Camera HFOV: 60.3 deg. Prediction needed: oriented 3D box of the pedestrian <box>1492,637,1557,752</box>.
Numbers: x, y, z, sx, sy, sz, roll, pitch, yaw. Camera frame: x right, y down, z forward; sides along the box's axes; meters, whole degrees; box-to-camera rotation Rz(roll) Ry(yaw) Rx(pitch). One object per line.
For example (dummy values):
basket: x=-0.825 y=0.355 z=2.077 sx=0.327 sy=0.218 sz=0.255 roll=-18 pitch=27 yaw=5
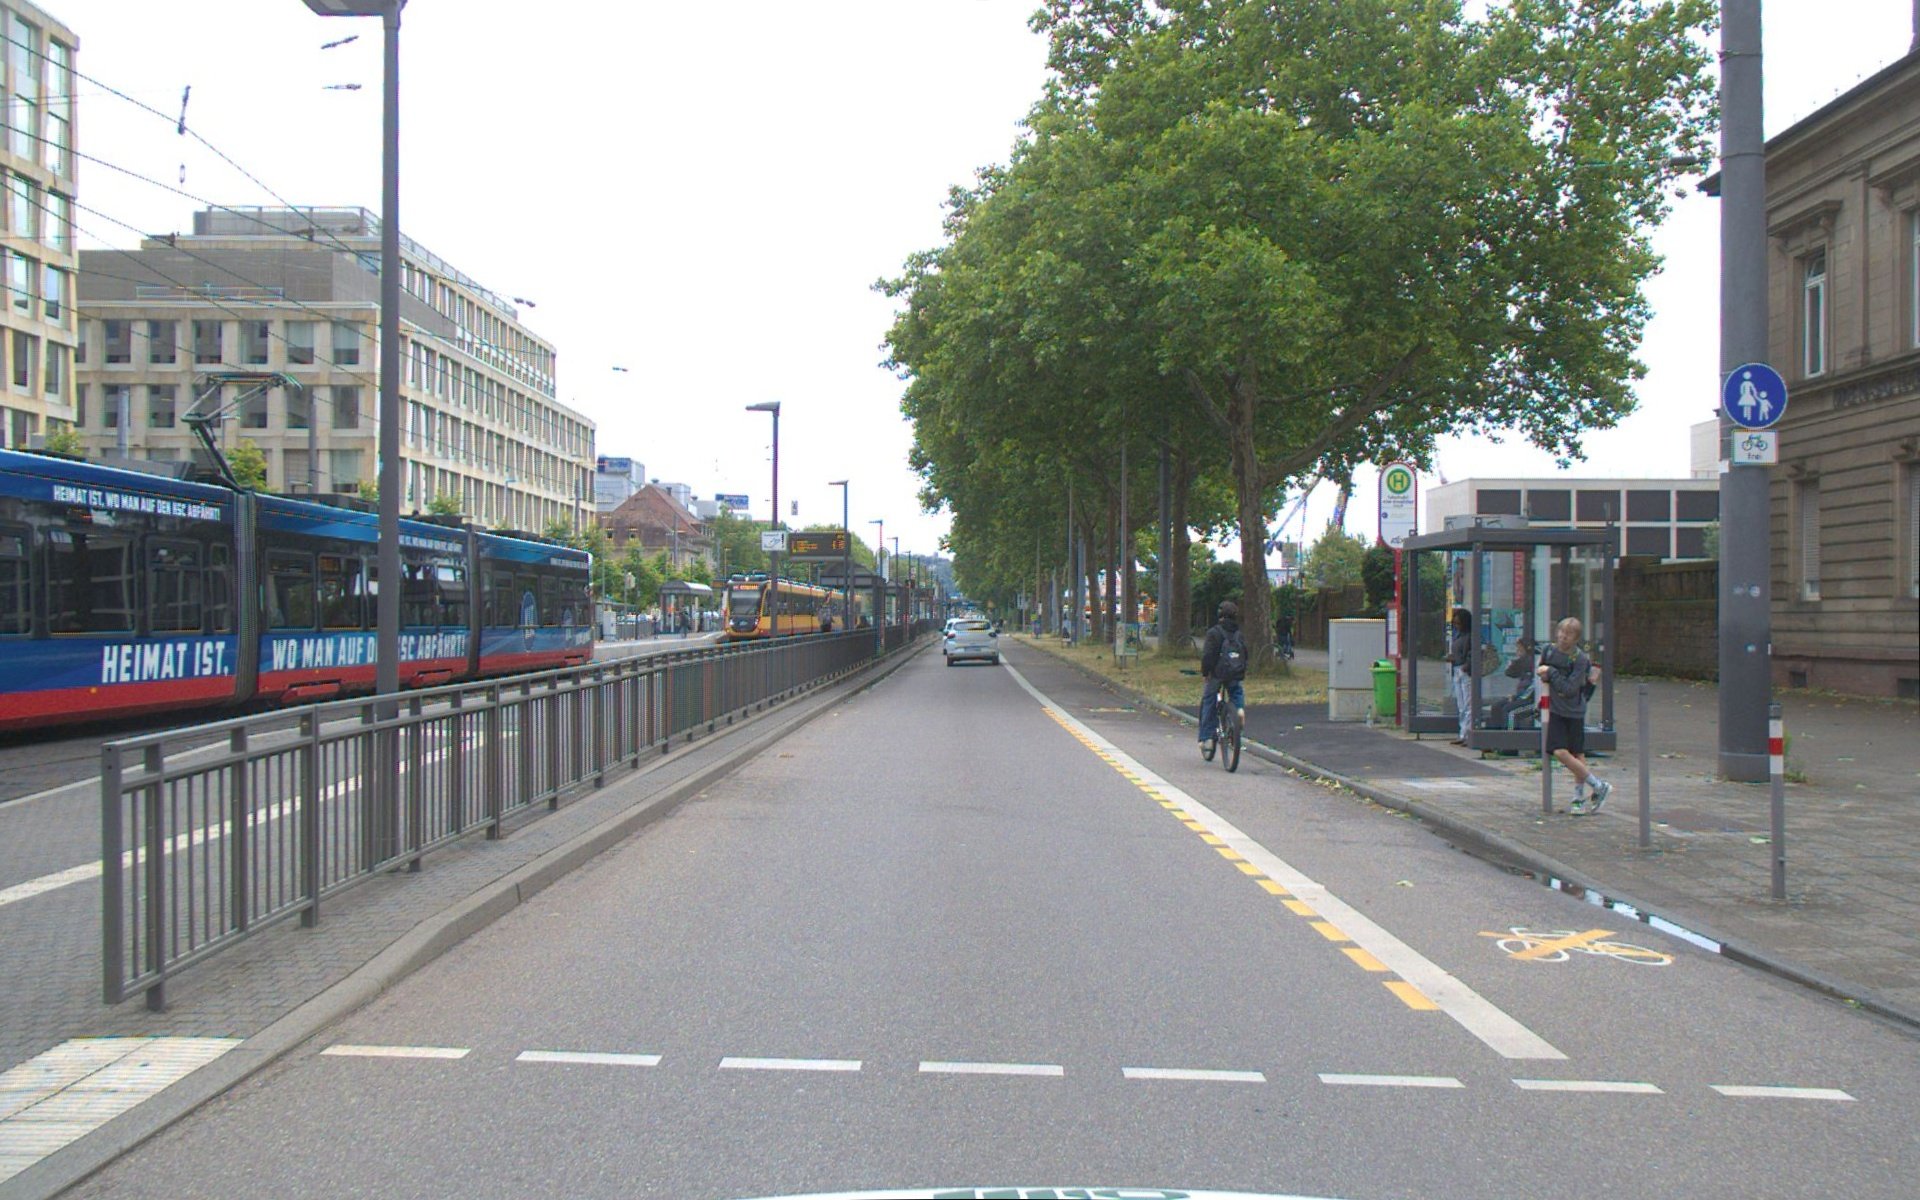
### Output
pedestrian: x=6.327 y=1.048 z=18.554 sx=0.467 sy=1.256 sz=0.702 roll=0 pitch=-2 yaw=0

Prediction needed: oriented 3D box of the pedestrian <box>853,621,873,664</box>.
pedestrian: x=-3.165 y=1.393 z=54.112 sx=0.598 sy=1.397 sz=0.600 roll=0 pitch=-2 yaw=1

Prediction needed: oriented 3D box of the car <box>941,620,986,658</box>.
car: x=0.171 y=1.661 z=71.753 sx=1.802 sy=1.579 sz=4.001 roll=-1 pitch=-1 yaw=2

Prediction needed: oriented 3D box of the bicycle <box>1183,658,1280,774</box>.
bicycle: x=2.971 y=1.246 z=18.278 sx=0.639 sy=1.170 sz=2.282 roll=0 pitch=-1 yaw=-1

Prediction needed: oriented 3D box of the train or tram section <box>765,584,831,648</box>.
train or tram section: x=-11.216 y=1.216 z=116.086 sx=3.115 sy=4.252 sz=13.619 roll=0 pitch=-1 yaw=1

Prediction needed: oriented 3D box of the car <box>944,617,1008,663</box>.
car: x=0.565 y=1.335 z=54.994 sx=1.845 sy=1.478 sz=4.002 roll=0 pitch=-1 yaw=4

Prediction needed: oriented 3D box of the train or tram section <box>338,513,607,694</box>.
train or tram section: x=-11.622 y=0.228 z=41.298 sx=2.796 sy=3.757 sz=13.517 roll=0 pitch=-1 yaw=-1

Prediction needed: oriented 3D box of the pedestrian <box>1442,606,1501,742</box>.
pedestrian: x=6.121 y=0.877 z=19.801 sx=0.467 sy=1.591 sz=0.702 roll=0 pitch=-2 yaw=0

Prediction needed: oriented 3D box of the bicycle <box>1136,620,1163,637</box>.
bicycle: x=13.728 y=2.061 z=119.873 sx=1.882 sy=1.110 sz=0.549 roll=-2 pitch=-1 yaw=-2

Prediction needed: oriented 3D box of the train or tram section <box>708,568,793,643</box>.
train or tram section: x=-11.520 y=0.438 z=92.220 sx=3.171 sy=3.930 sz=11.311 roll=0 pitch=-1 yaw=1

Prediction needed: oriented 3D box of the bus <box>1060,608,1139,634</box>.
bus: x=16.239 y=2.439 z=192.683 sx=9.090 sy=3.012 sz=1.999 roll=0 pitch=-2 yaw=-2

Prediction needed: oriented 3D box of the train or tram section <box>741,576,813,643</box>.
train or tram section: x=-11.358 y=0.692 z=103.574 sx=3.098 sy=3.930 sz=11.311 roll=0 pitch=-1 yaw=1

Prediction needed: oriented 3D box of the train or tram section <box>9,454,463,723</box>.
train or tram section: x=-11.723 y=-0.033 z=28.653 sx=2.796 sy=3.704 sz=11.697 roll=0 pitch=-1 yaw=-1

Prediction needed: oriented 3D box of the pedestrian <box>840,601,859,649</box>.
pedestrian: x=-4.296 y=0.977 z=64.132 sx=0.657 sy=1.825 sz=1.111 roll=0 pitch=-2 yaw=-8

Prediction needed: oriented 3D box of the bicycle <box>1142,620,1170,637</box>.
bicycle: x=13.607 y=1.953 z=114.655 sx=1.851 sy=1.124 sz=0.549 roll=-2 pitch=-1 yaw=-2

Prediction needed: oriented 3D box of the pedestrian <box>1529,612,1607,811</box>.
pedestrian: x=4.888 y=0.878 z=13.320 sx=0.540 sy=1.555 sz=0.638 roll=-1 pitch=-2 yaw=17

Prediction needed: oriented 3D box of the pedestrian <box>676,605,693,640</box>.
pedestrian: x=-14.622 y=1.204 z=87.885 sx=0.697 sy=1.827 sz=1.160 roll=0 pitch=-2 yaw=-1

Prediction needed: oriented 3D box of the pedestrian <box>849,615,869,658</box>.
pedestrian: x=-3.223 y=1.174 z=52.832 sx=0.598 sy=1.364 sz=0.600 roll=0 pitch=-2 yaw=1

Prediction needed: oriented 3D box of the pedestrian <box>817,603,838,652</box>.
pedestrian: x=-5.070 y=1.058 z=63.449 sx=0.658 sy=1.825 sz=1.109 roll=0 pitch=-2 yaw=-13

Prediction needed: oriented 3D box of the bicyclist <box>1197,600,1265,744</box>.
bicyclist: x=2.997 y=0.790 z=18.339 sx=0.628 sy=1.558 sz=0.664 roll=0 pitch=-2 yaw=-2

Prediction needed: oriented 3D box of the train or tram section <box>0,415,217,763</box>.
train or tram section: x=-11.623 y=-0.129 z=16.923 sx=2.796 sy=3.704 sz=11.762 roll=0 pitch=-1 yaw=-1
